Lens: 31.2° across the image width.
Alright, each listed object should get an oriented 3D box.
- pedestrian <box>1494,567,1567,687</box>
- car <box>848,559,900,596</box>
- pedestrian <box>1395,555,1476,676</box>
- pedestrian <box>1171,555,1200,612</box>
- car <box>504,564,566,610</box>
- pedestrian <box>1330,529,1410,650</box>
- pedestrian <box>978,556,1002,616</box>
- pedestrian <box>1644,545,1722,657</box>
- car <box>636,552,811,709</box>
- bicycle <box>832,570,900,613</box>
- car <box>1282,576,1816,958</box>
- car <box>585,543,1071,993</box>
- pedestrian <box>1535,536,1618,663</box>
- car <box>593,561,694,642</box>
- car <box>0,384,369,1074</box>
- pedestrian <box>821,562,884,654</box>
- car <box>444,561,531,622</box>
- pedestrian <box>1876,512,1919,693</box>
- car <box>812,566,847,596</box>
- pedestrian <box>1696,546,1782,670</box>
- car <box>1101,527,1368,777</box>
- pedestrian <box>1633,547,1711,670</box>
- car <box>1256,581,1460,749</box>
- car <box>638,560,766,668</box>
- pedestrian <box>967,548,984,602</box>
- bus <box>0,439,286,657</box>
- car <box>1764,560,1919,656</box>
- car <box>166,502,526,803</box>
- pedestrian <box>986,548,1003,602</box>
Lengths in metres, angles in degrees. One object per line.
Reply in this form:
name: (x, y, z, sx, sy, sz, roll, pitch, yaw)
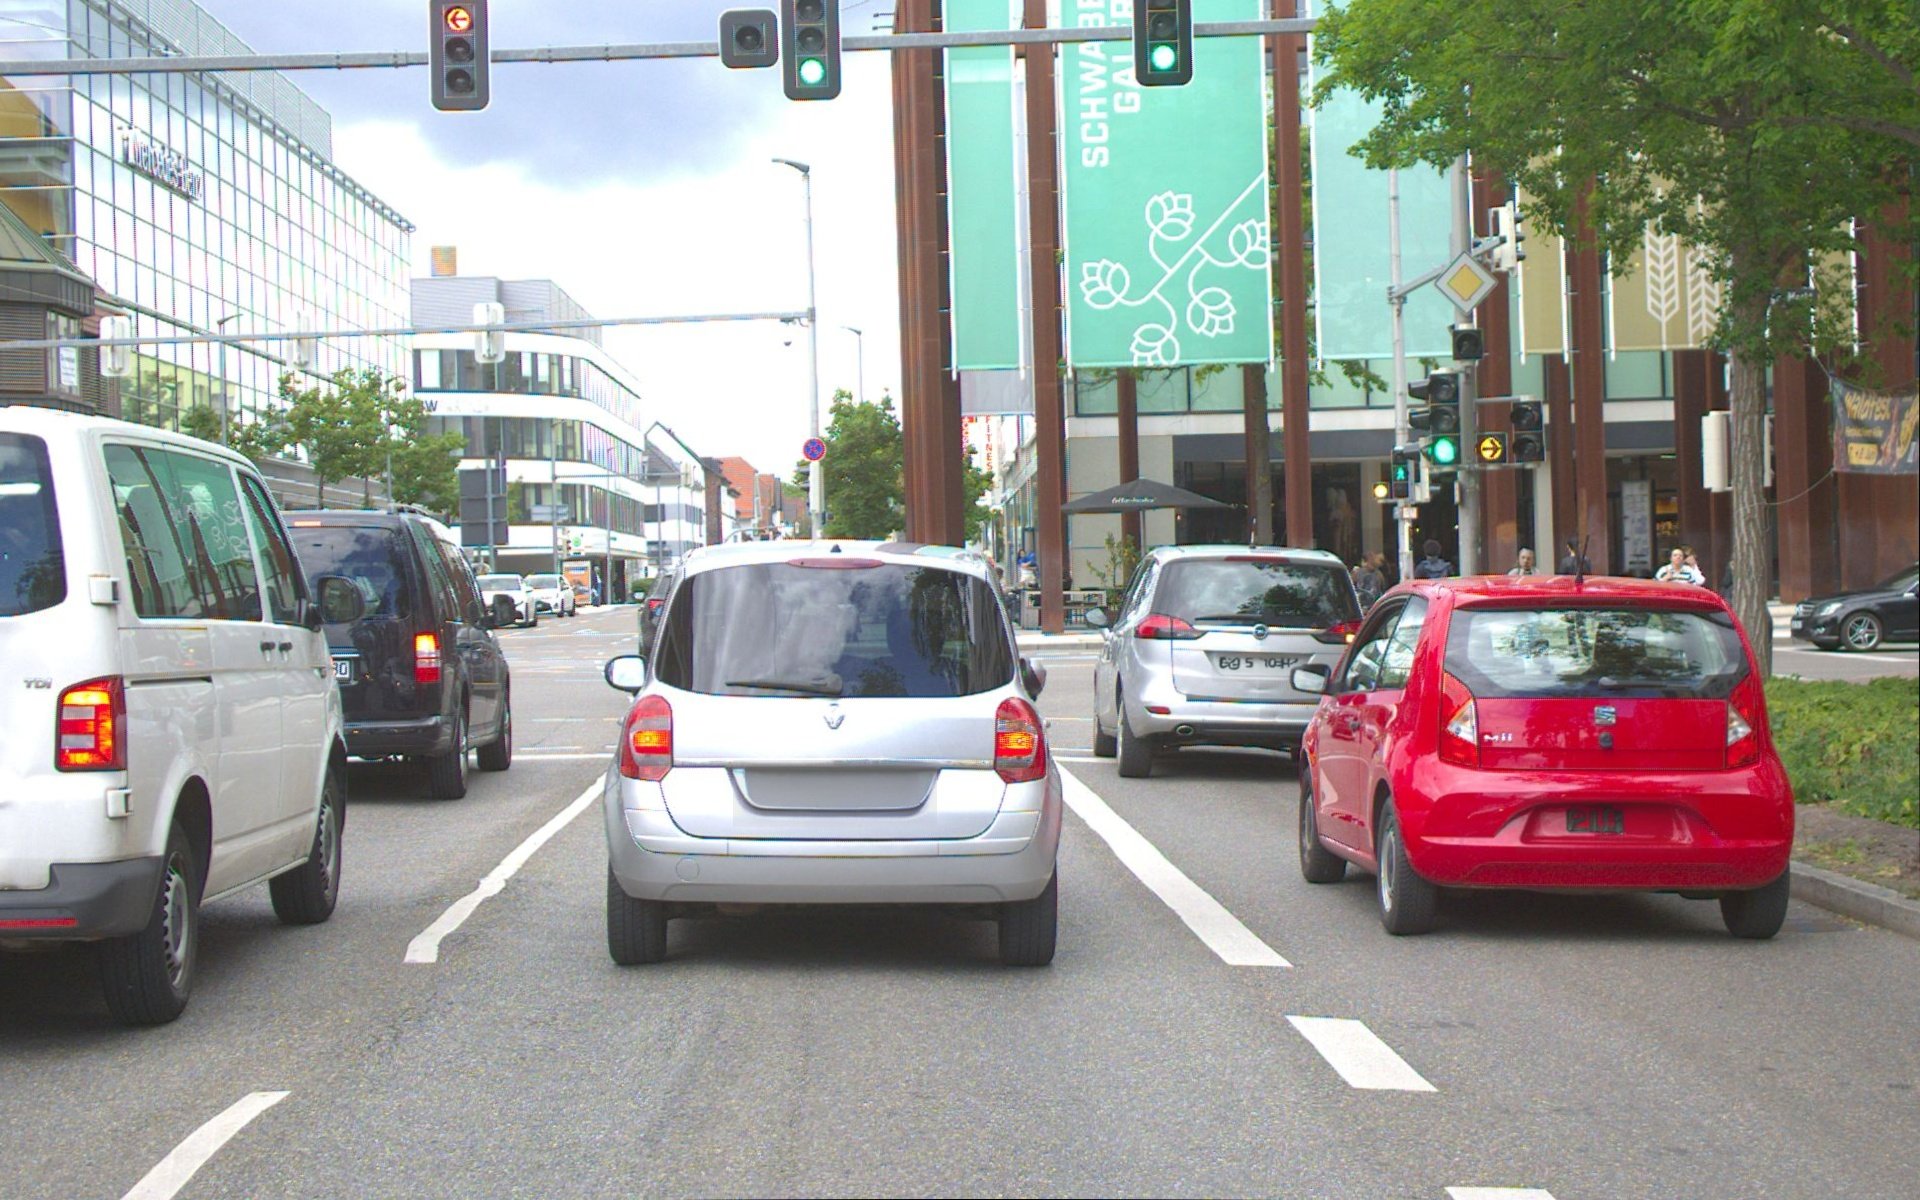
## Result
pedestrian: (7.900, 0.364, 47.663, 0.741, 1.620, 0.954, -2, 1, -5)
car: (-3.168, -0.849, 127.491, 1.877, 1.330, 4.000, 1, 1, -1)
pedestrian: (6.715, 0.210, 48.585, 0.878, 1.675, 1.120, -2, 1, -4)
pedestrian: (4.922, -0.360, 75.064, 0.515, 1.204, 0.796, -1, 2, -3)
car: (-14.594, -0.457, 118.105, 1.660, 1.460, 4.000, -2, 1, -1)
pedestrian: (5.784, -0.153, 48.525, 0.878, 1.675, 1.120, -2, 1, -4)
pedestrian: (0.615, -0.287, 69.891, 0.447, 1.216, 0.606, -1, 1, 1)
pedestrian: (10.471, 0.003, 49.810, 0.821, 1.589, 1.039, -1, 1, -4)
car: (-2.436, 0.282, 36.133, 1.669, 1.549, 3.642, 1, 1, -1)
bicycle: (-2.274, -0.217, 83.309, 1.560, 0.989, 0.752, -1, 1, 2)
car: (2.454, 0.636, 15.144, 1.626, 1.443, 3.642, 1, 1, -1)
car: (-0.504, 0.561, 13.743, 1.669, 1.549, 3.642, 1, 1, -1)
pedestrian: (8.757, -0.017, 48.869, 0.878, 1.761, 1.120, -2, 1, -4)
car: (-6.037, 0.009, 65.863, 1.669, 1.490, 3.642, 1, 1, -1)
car: (-3.488, 0.343, 12.398, 1.993, 2.007, 4.840, 0, 1, -1)
pedestrian: (-1.928, 0.143, 61.854, 0.871, 1.641, 0.679, -1, 1, 33)
car: (-12.224, -0.235, 89.212, 1.744, 1.454, 4.236, -2, 1, -2)
pedestrian: (9.529, 0.011, 33.120, 1.056, 1.709, 1.110, -1, 1, -2)
car: (-6.695, -0.997, 177.037, 1.660, 1.460, 4.000, -2, 1, -1)
pedestrian: (11.319, 0.102, 49.985, 0.878, 1.761, 1.120, -2, 1, -4)
car: (1.966, 0.325, 25.719, 1.739, 1.695, 4.380, 1, 1, 1)
pedestrian: (9.621, 0.106, 46.485, 0.741, 1.620, 0.954, -2, 1, -5)
car: (4.290, 0.626, 36.481, 1.852, 1.603, 4.859, 0, 1, 10)
car: (-3.720, 0.171, 50.059, 1.669, 1.490, 3.642, 1, 1, -1)
pedestrian: (0.452, -0.719, 98.165, 0.427, 1.544, 0.481, -1, 1, -3)
bus: (-15.129, -0.874, 59.077, 2.988, 3.316, 12.303, -4, 1, 8)
car: (14.499, 0.093, 52.046, 4.172, 1.399, 1.801, -1, 1, -4)
car: (-4.018, 0.287, 23.181, 1.707, 1.814, 4.572, 1, 1, -1)
pedestrian: (0.980, -0.715, 98.229, 0.427, 1.544, 0.481, -1, 1, -3)
